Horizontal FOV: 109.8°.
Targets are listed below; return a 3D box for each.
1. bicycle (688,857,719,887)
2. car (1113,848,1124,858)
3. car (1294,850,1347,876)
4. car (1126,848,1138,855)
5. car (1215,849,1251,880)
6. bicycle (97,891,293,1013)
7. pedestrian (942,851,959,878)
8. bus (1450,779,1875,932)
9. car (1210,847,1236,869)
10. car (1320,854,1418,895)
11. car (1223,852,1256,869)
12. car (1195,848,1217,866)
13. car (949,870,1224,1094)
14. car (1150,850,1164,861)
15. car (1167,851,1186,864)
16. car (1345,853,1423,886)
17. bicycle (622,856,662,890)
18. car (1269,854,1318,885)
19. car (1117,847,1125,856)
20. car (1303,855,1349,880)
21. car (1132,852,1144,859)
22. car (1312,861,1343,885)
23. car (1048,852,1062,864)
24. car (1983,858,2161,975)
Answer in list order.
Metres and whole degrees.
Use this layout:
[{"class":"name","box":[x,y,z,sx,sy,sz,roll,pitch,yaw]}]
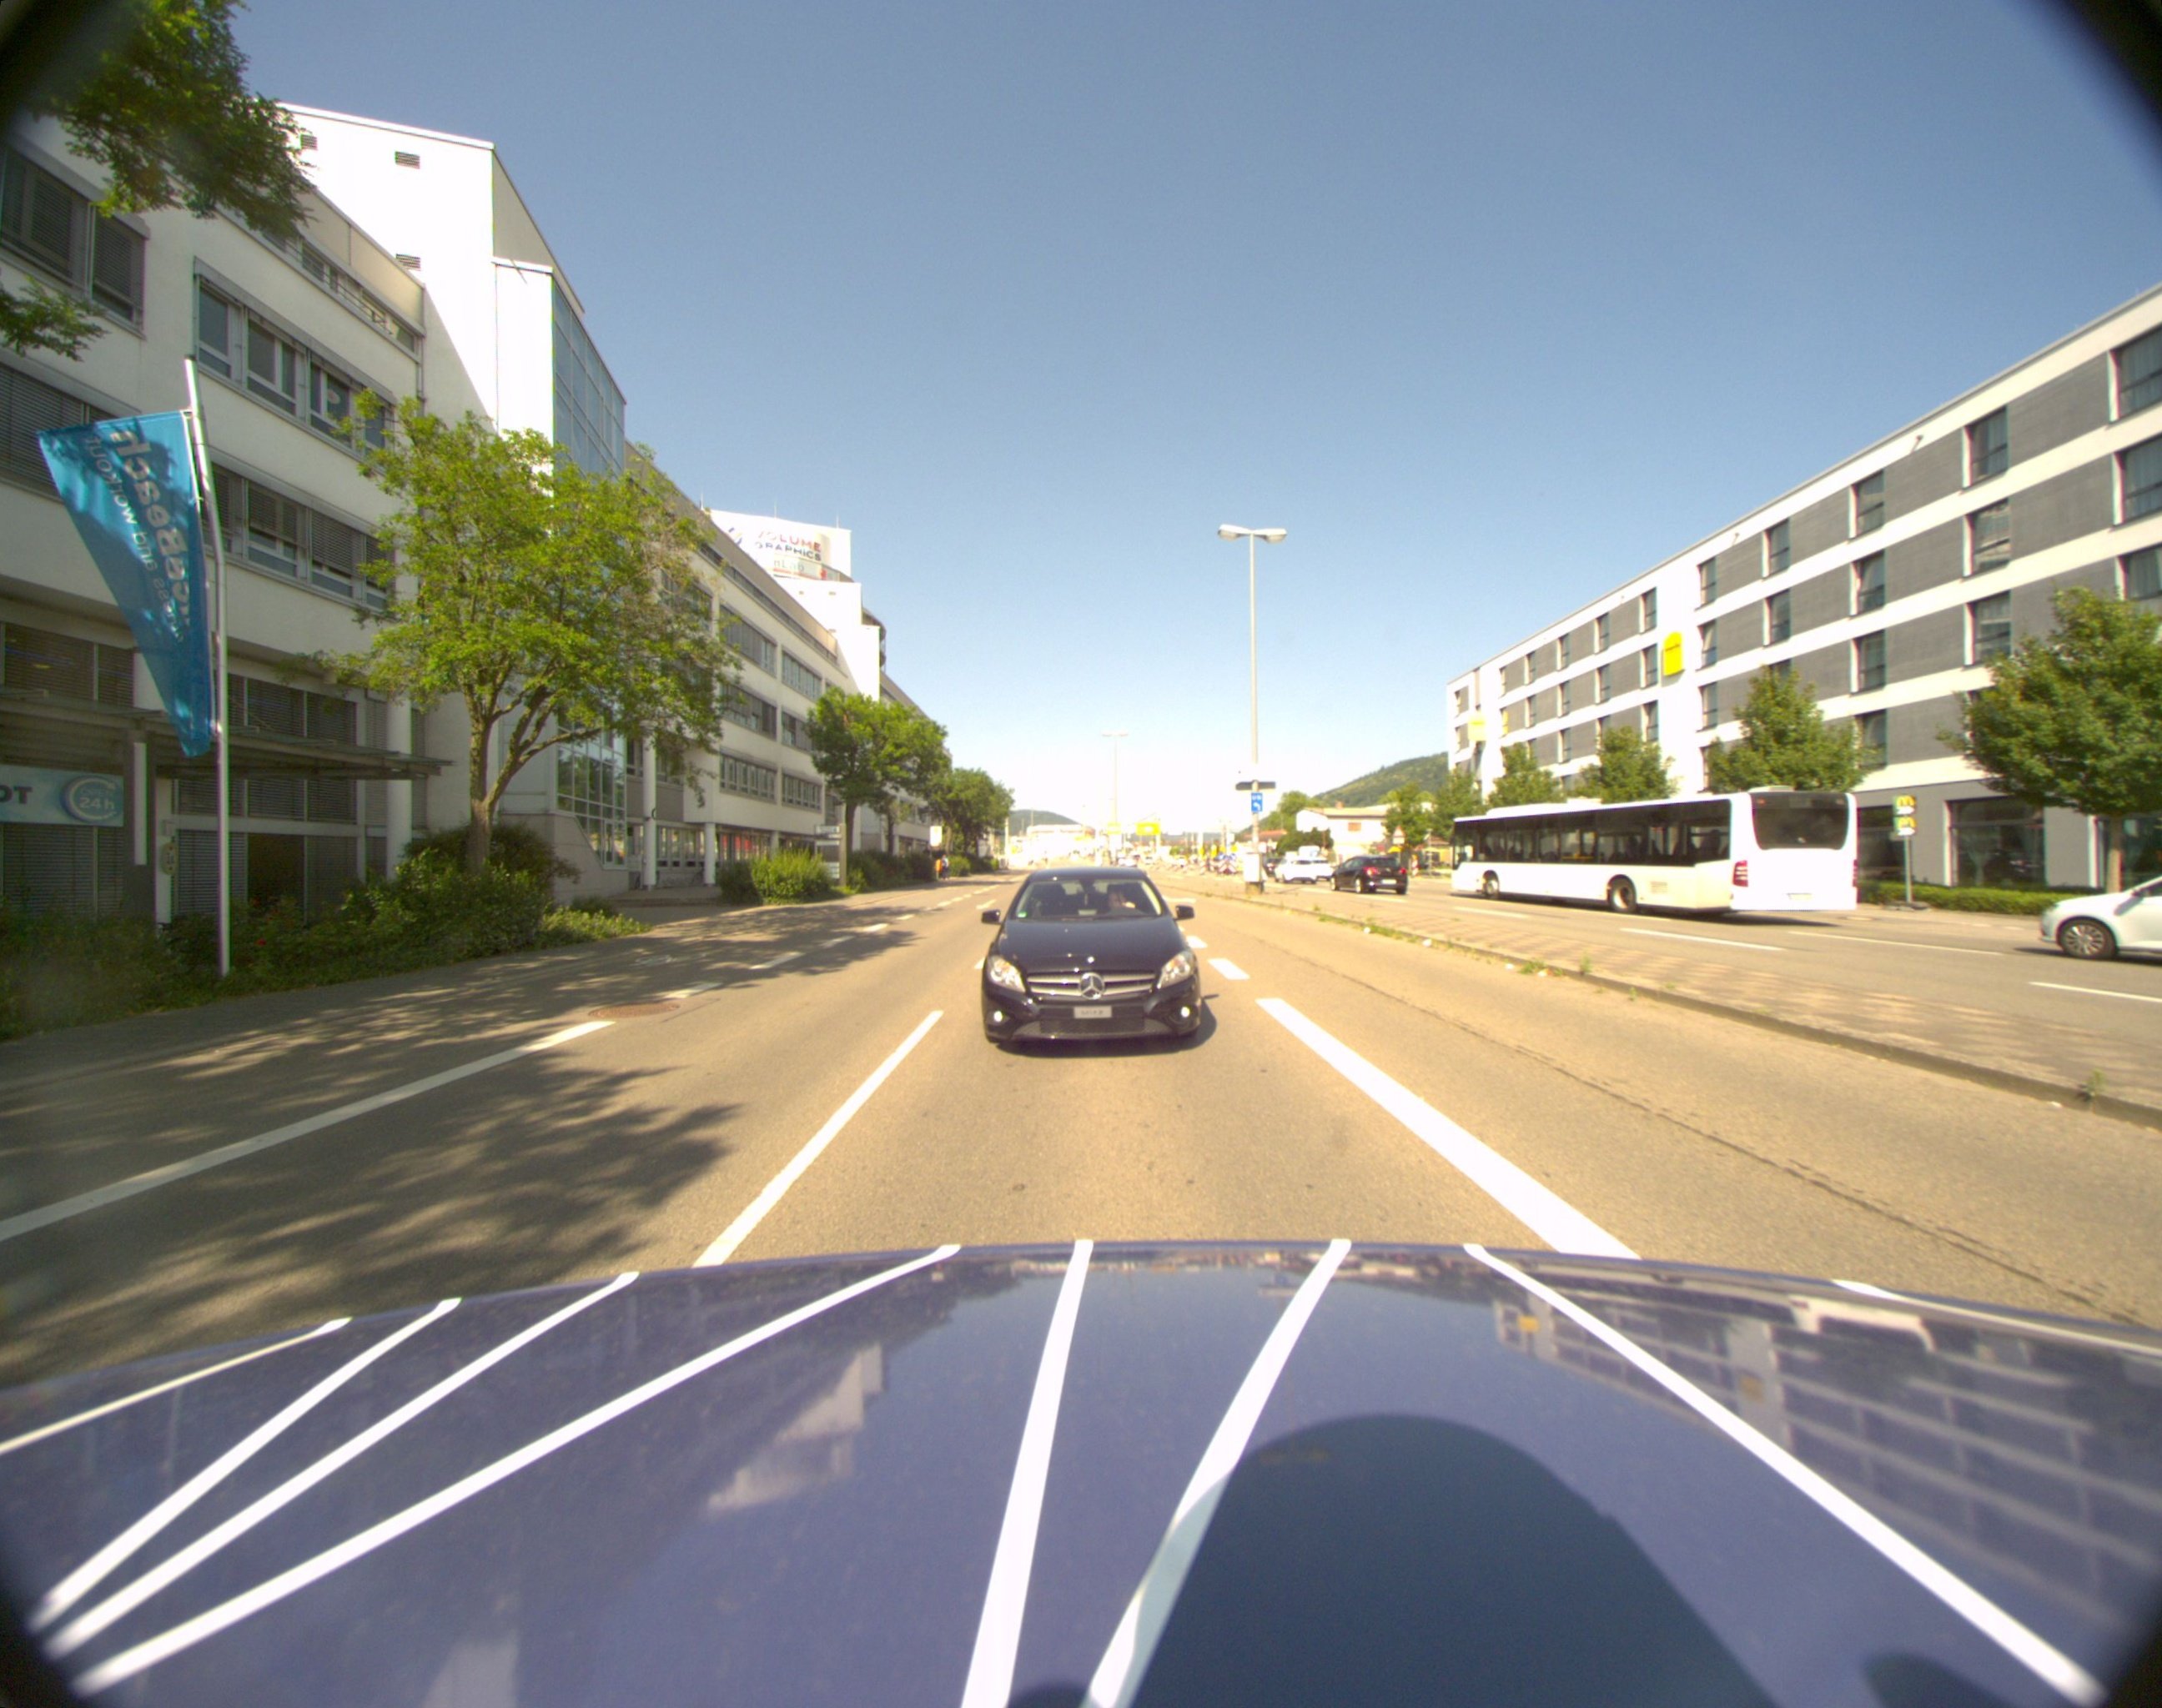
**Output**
[{"class":"bicycle","box":[-17.722,0.814,35.723,0.506,1.346,1.884,-1,0,1]},{"class":"car","box":[7.986,-0.218,162.398,1.998,2.002,3.999,-2,1,1]},{"class":"car","box":[14.715,0.519,46.899,1.858,1.530,3.977,-1,0,-2]},{"class":"car","box":[11.436,-0.554,171.188,2.000,1.725,3.997,-1,0,-6]},{"class":"car","box":[10.715,0.678,53.764,1.679,2.002,4.164,-2,1,1]},{"class":"bicycle","box":[-11.267,1.186,9.770,0.506,1.321,1.883,0,0,-8]},{"class":"pedestrian","box":[-9.246,0.749,53.895,0.942,1.875,1.289,2,1,0]},{"class":"bus","box":[14.809,0.002,21.533,2.745,3.061,11.974,1,0,0]},{"class":"car","box":[14.302,0.401,76.663,1.998,2.002,4.000,-2,1,3]},{"class":"car","box":[11.210,0.745,30.020,1.998,1.424,4.890,-1,0,0]},{"class":"car","box":[14.261,0.559,68.484,1.998,1.514,4.891,-1,0,1]},{"class":"car","box":[14.935,0.314,90.860,1.998,2.002,3.999,-2,1,1]},{"class":"car","box":[0.062,0.948,7.667,1.905,1.431,4.693,-1,0,1]},{"class":"car","box":[13.558,0.272,135.633,1.999,2.002,3.999,0,0,-1]},{"class":"car","box":[12.928,0.415,102.975,1.998,1.702,4.891,-1,0,1]},{"class":"car","box":[15.065,0.738,38.066,1.998,1.514,4.891,-1,0,1]},{"class":"bicycle","box":[-18.063,0.766,31.326,0.506,1.346,1.884,-1,0,1]},{"class":"car","box":[11.457,0.792,41.147,1.763,1.443,4.001,-2,1,5]},{"class":"car","box":[9.771,-0.610,186.367,1.998,2.002,4.000,-1,0,2]},{"class":"car","box":[16.431,0.883,51.162,1.719,1.609,3.590,-1,0,-4]},{"class":"car","box":[11.265,0.374,150.821,1.815,1.328,3.937,-1,0,-3]},{"class":"car","box":[13.901,1.067,42.979,1.058,1.200,2.220,-2,1,2]},{"class":"car","box":[-4.520,0.680,132.095,1.998,2.002,4.000,-2,1,2]},{"class":"car","box":[14.965,0.855,9.473,1.999,1.477,4.410,2,1,-5]}]
